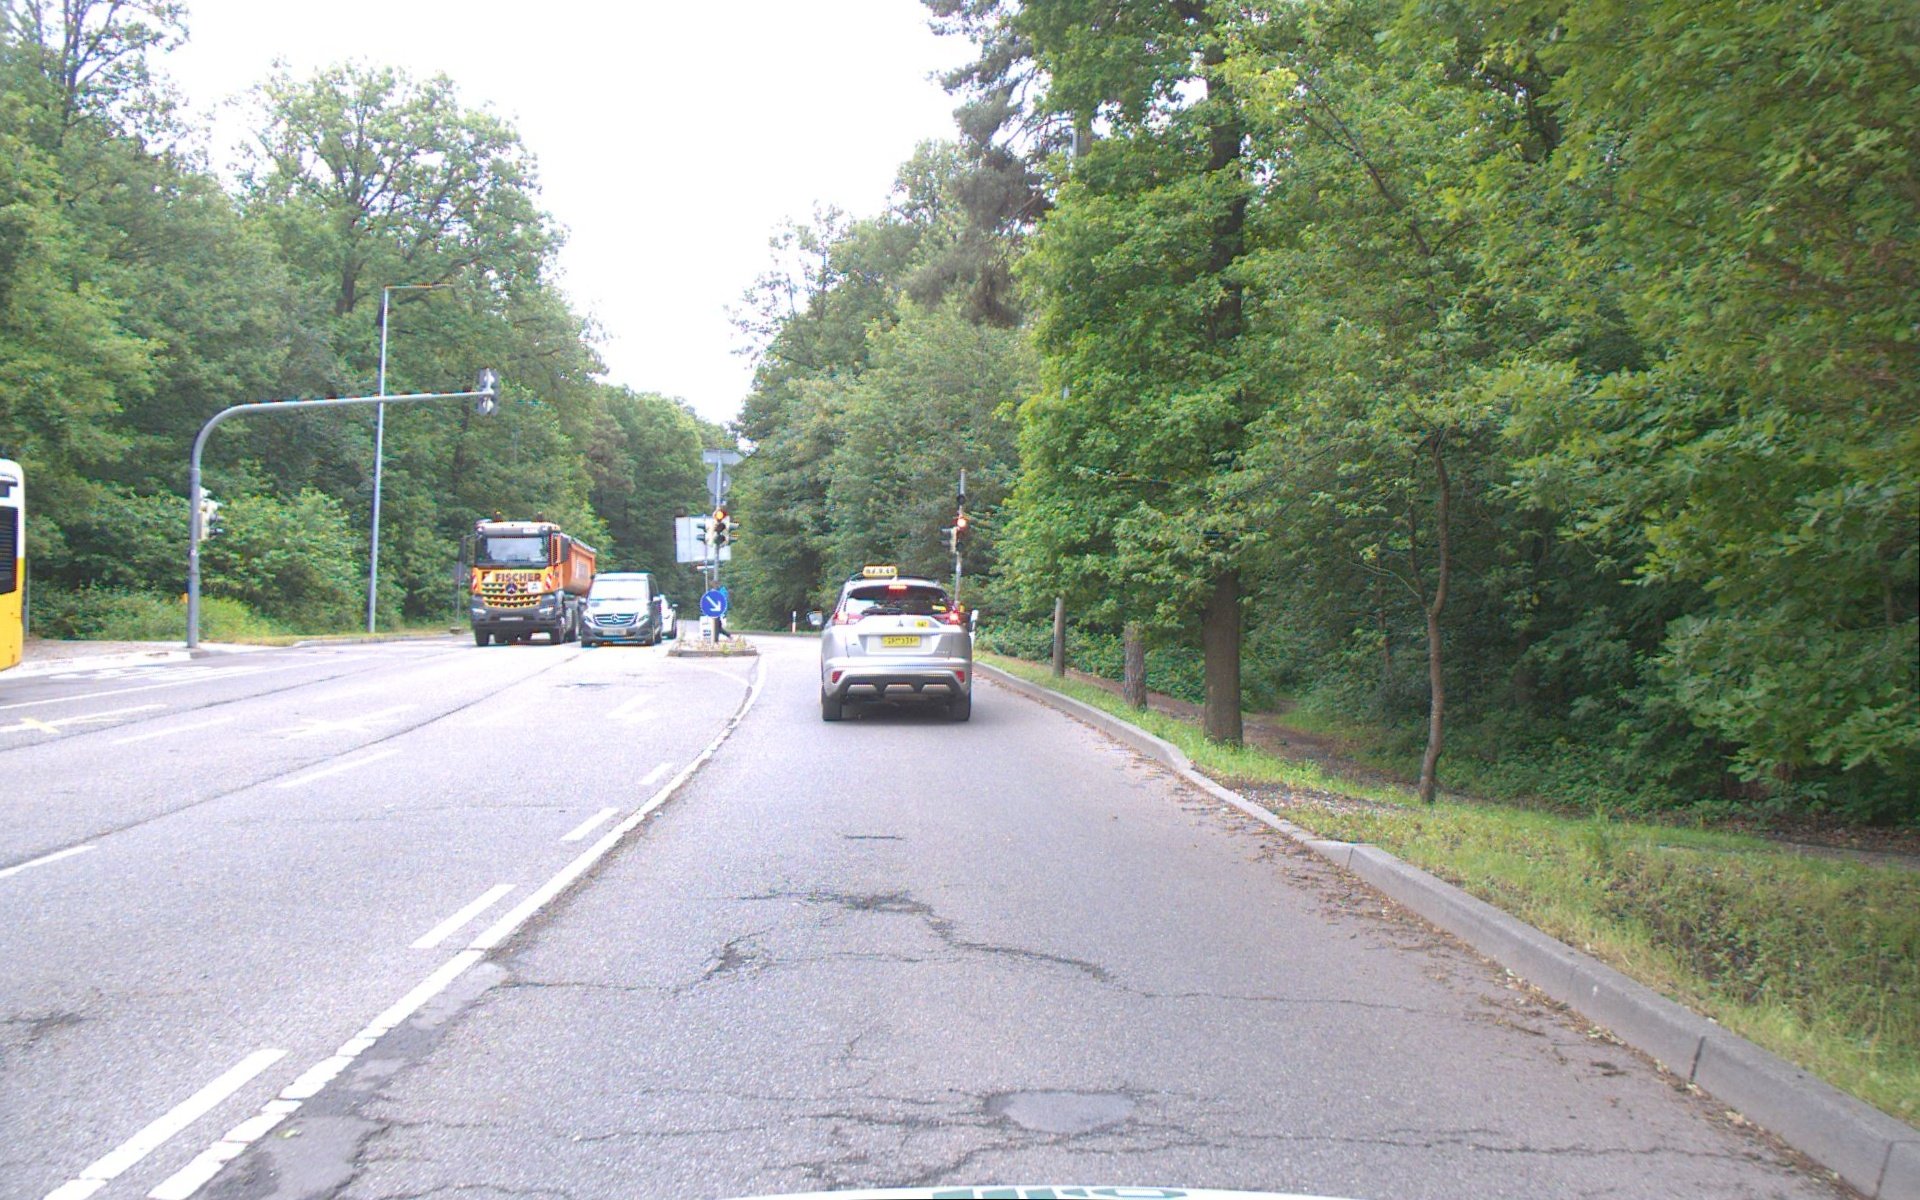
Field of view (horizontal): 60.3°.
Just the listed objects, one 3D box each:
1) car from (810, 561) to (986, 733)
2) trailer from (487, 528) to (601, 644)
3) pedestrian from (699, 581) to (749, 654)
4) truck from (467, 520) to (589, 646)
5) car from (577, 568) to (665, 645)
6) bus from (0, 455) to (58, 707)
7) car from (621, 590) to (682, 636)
[{"bbox_3d":[-0.660,0.491,20.515,1.808,1.811,4.001,3,1,2],"label":"car"},{"bbox_3d":[-13.134,-0.387,52.783,2.688,3.376,8.551,0,-1,-9],"label":"trailer"},{"bbox_3d":[-5.537,0.402,38.811,1.026,1.678,1.069,0,1,0],"label":"pedestrian"},{"bbox_3d":[-12.436,-0.435,48.149,2.688,3.376,7.145,0,-1,-9],"label":"truck"},{"bbox_3d":[-9.088,0.181,44.681,1.956,1.927,4.831,-1,0,-7],"label":"car"},{"bbox_3d":[-13.351,-0.248,17.865,2.841,3.181,8.688,1,0,-4],"label":"bus"},{"bbox_3d":[-9.983,0.399,53.687,1.581,1.344,3.717,-2,1,-6],"label":"car"}]
